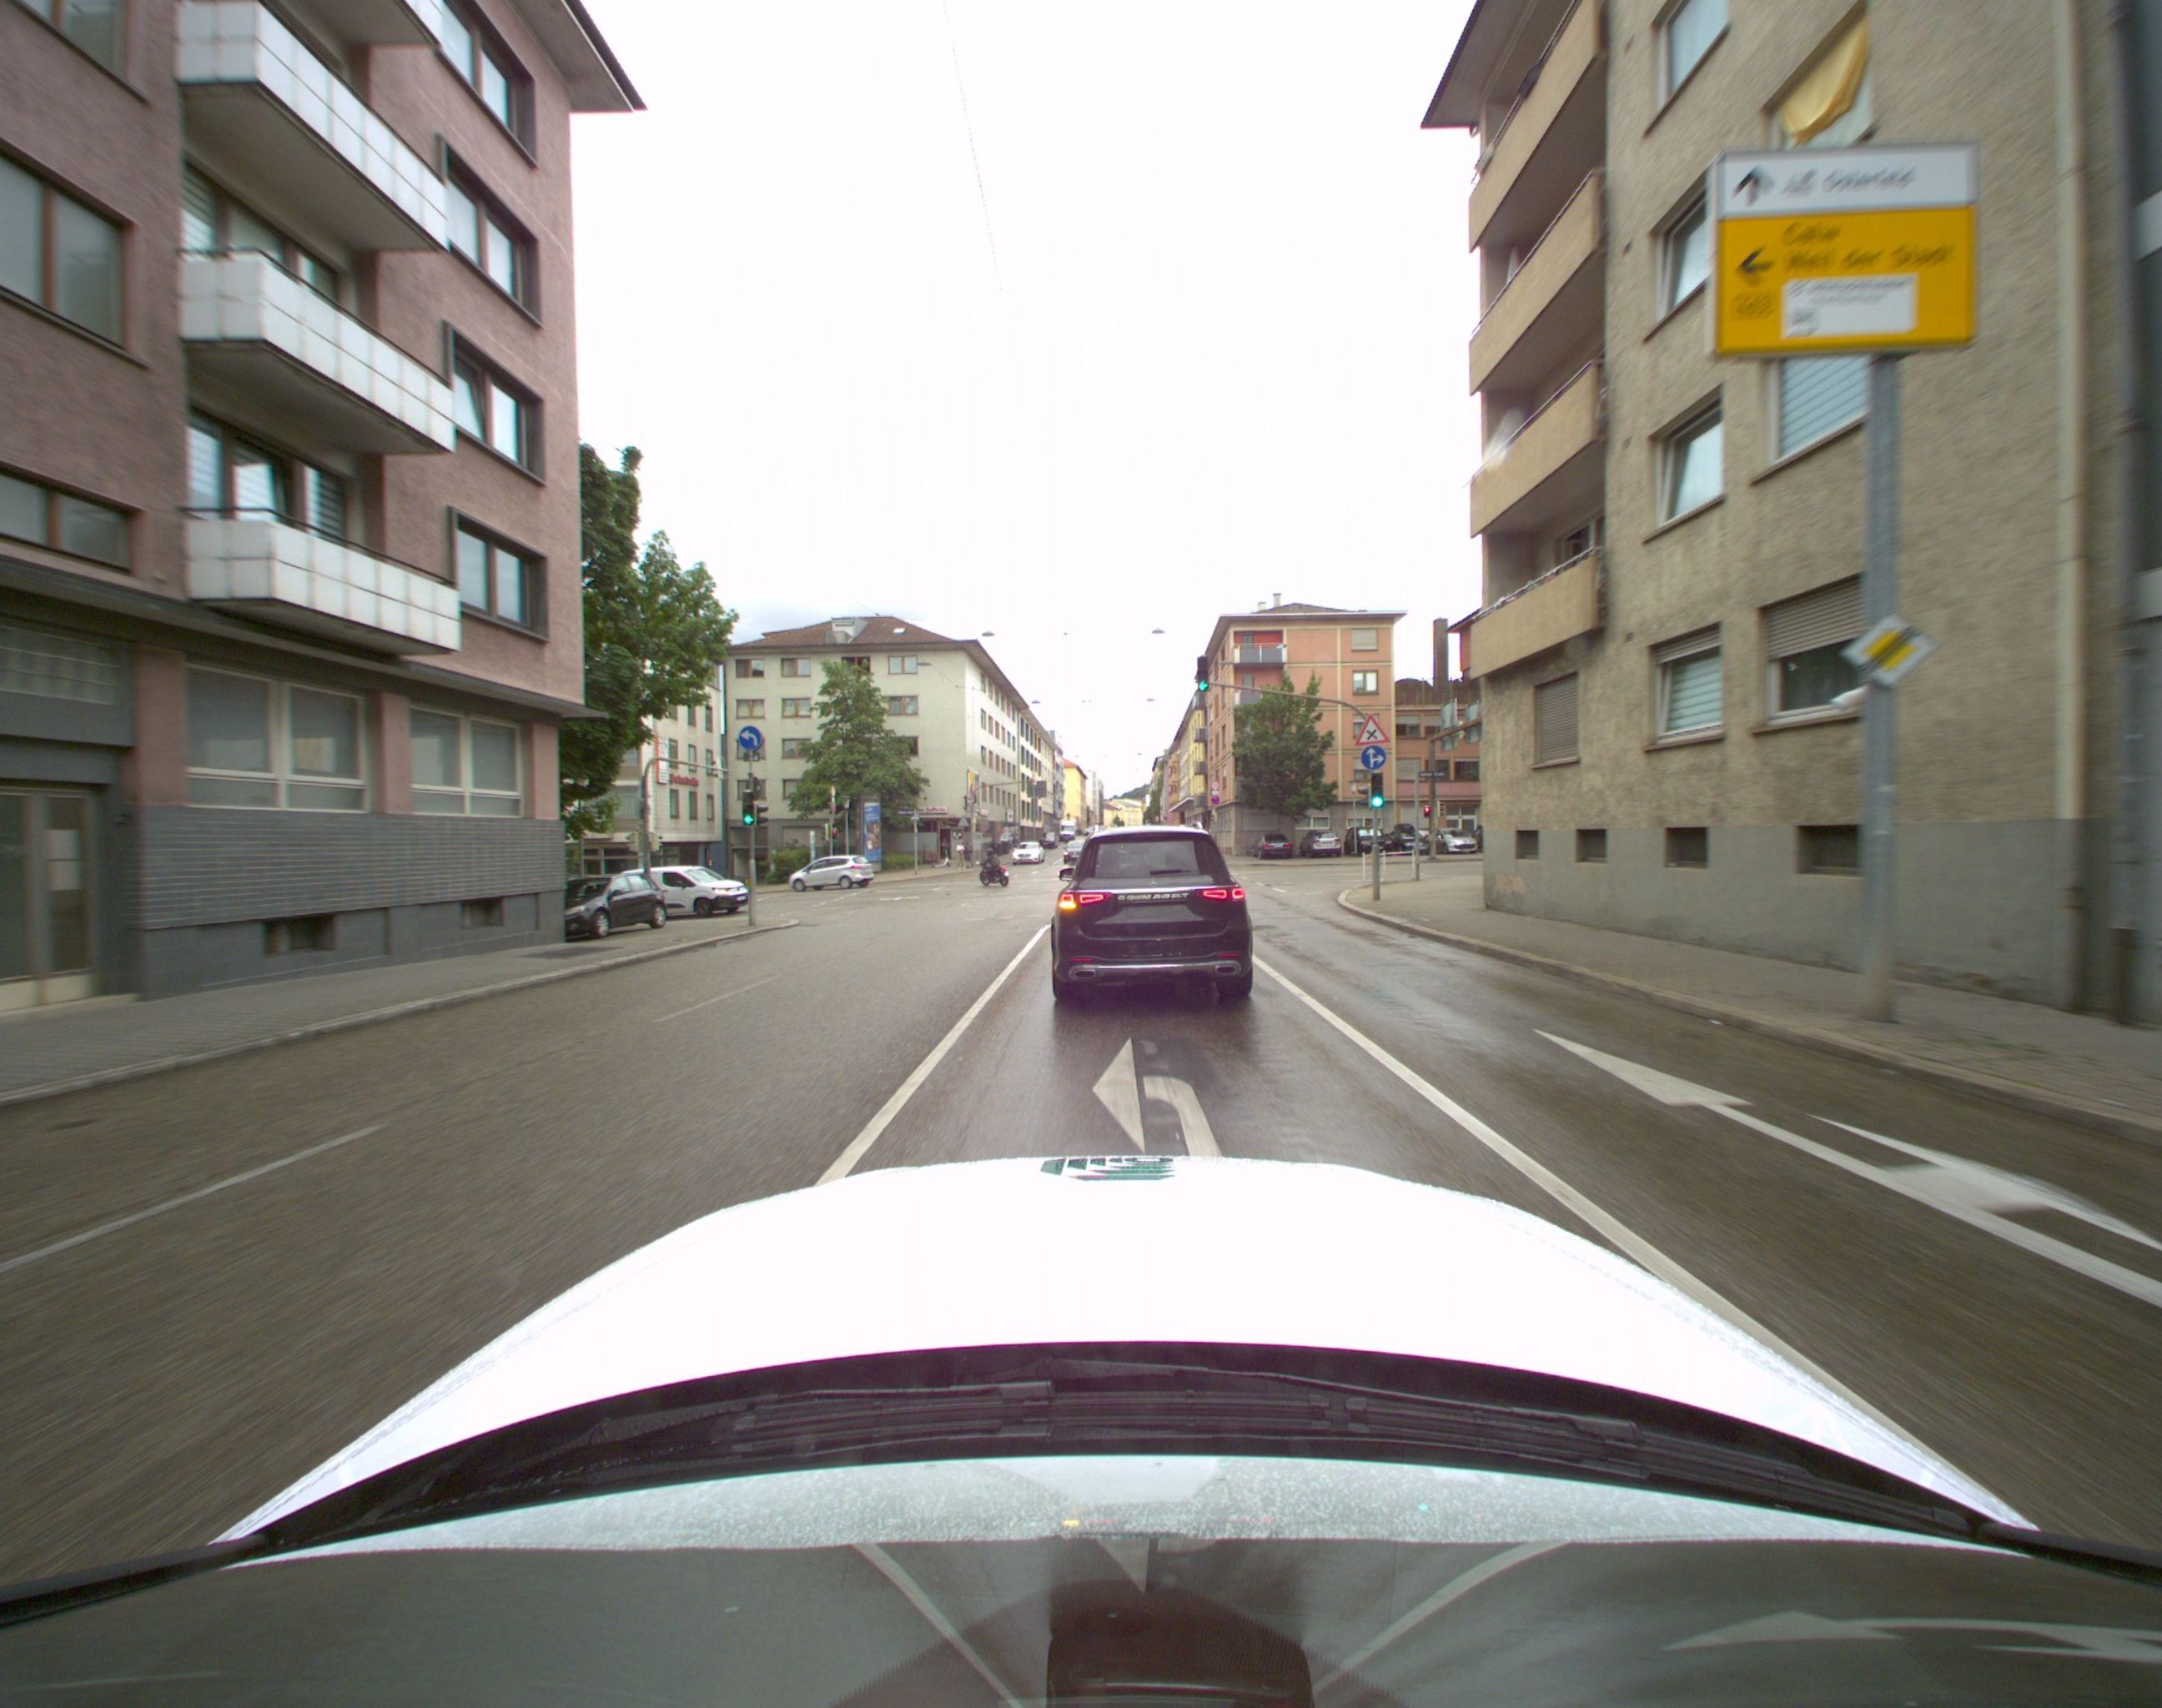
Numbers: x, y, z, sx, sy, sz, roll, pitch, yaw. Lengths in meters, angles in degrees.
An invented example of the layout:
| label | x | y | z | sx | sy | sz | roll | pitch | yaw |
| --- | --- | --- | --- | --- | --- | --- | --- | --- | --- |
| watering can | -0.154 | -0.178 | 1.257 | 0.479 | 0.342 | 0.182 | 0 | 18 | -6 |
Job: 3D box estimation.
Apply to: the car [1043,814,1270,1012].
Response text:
| label | x | y | z | sx | sy | sz | roll | pitch | yaw |
| --- | --- | --- | --- | --- | --- | --- | --- | --- | --- |
| car | 0.718 | 0.546 | 9.732 | 2.014 | 1.739 | 4.747 | -1 | 0 | 1 |

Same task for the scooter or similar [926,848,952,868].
| label | x | y | z | sx | sy | sz | roll | pitch | yaw |
| --- | --- | --- | --- | --- | --- | --- | --- | --- | --- |
| scooter or similar | -8.894 | 0.249 | 50.982 | 1.565 | 1.190 | 0.497 | 0 | -1 | -27 |

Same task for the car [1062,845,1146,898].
| label | x | y | z | sx | sy | sz | roll | pitch | yaw |
| --- | --- | --- | --- | --- | --- | --- | --- | --- | --- |
| car | 0.662 | 0.484 | 26.554 | 1.830 | 1.461 | 4.364 | -3 | 1 | -10 |

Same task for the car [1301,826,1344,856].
| label | x | y | z | sx | sy | sz | roll | pitch | yaw |
| --- | --- | --- | --- | --- | --- | --- | --- | --- | --- |
| car | 14.542 | -0.776 | 49.211 | 1.975 | 1.660 | 4.010 | -2 | 1 | 9 |

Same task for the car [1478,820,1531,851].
| label | x | y | z | sx | sy | sz | roll | pitch | yaw |
| --- | --- | --- | --- | --- | --- | --- | --- | --- | --- |
| car | 24.917 | -1.062 | 48.051 | 1.979 | 1.706 | 4.016 | 0 | 0 | 15 |

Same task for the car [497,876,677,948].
| label | x | y | z | sx | sy | sz | roll | pitch | yaw |
| --- | --- | --- | --- | --- | --- | --- | --- | --- | --- |
| car | -11.627 | 1.304 | 19.533 | 1.726 | 1.360 | 4.001 | -4 | 0 | 2 |

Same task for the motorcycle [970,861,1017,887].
| label | x | y | z | sx | sy | sz | roll | pitch | yaw |
| --- | --- | --- | --- | --- | --- | --- | --- | --- | --- |
| motorcycle | -3.606 | 0.825 | 33.574 | 0.869 | 1.006 | 2.226 | -2 | 1 | -37 |

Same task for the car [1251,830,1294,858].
| label | x | y | z | sx | sy | sz | roll | pitch | yaw |
| --- | --- | --- | --- | --- | --- | --- | --- | --- | --- |
| car | 11.638 | -0.623 | 49.760 | 1.835 | 1.554 | 4.803 | -2 | 1 | 5 |

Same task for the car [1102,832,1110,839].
| label | x | y | z | sx | sy | sz | roll | pitch | yaw |
| --- | --- | --- | --- | --- | --- | --- | --- | --- | --- |
| car | 6.210 | -4.750 | 205.098 | 1.836 | 1.674 | 4.005 | -2 | 0 | 4 |

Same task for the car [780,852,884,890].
| label | x | y | z | sx | sy | sz | roll | pitch | yaw |
| --- | --- | --- | --- | --- | --- | --- | --- | --- | --- |
| car | -11.848 | 0.793 | 38.778 | 4.217 | 1.599 | 2.036 | -2 | 0 | 16 |

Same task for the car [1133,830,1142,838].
| label | x | y | z | sx | sy | sz | roll | pitch | yaw |
| --- | --- | --- | --- | --- | --- | --- | --- | --- | --- |
| car | 12.573 | -4.452 | 181.137 | 2.006 | 1.562 | 4.006 | 0 | 0 | 6 |

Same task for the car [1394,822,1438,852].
| label | x | y | z | sx | sy | sz | roll | pitch | yaw |
| --- | --- | --- | --- | --- | --- | --- | --- | --- | --- |
| car | 20.080 | -1.002 | 48.740 | 1.777 | 1.698 | 4.026 | 0 | 1 | 32 |

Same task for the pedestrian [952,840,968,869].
| label | x | y | z | sx | sy | sz | roll | pitch | yaw |
| --- | --- | --- | --- | --- | --- | --- | --- | --- | --- |
| pedestrian | -7.324 | 0.022 | 49.424 | 0.713 | 1.646 | 0.751 | -1 | 4 | -33 |

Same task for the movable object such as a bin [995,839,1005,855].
| label | x | y | z | sx | sy | sz | roll | pitch | yaw |
| --- | --- | --- | --- | --- | --- | --- | --- | --- | --- |
| movable object such as a bin | -6.594 | -0.574 | 66.152 | 0.694 | 1.315 | 0.783 | 0 | -1 | 2 |

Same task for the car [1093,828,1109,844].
| label | x | y | z | sx | sy | sz | roll | pitch | yaw |
| --- | --- | --- | --- | --- | --- | --- | --- | --- | --- |
| car | 2.898 | -2.599 | 119.533 | 2.055 | 2.241 | 4.626 | -2 | 0 | 4 |

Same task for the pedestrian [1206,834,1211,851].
| label | x | y | z | sx | sy | sz | roll | pitch | yaw |
| --- | --- | --- | --- | --- | --- | --- | --- | --- | --- |
| pedestrian | 10.477 | -0.951 | 67.147 | 0.362 | 1.398 | 0.370 | 0 | 4 | 3 |

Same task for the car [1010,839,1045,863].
| label | x | y | z | sx | sy | sz | roll | pitch | yaw |
| --- | --- | --- | --- | --- | --- | --- | --- | --- | --- |
| car | -3.614 | -0.231 | 55.575 | 1.836 | 1.512 | 4.004 | -2 | 1 | 4 |

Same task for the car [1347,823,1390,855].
| label | x | y | z | sx | sy | sz | roll | pitch | yaw |
| --- | --- | --- | --- | --- | --- | --- | --- | --- | --- |
| car | 17.097 | -0.903 | 48.585 | 1.972 | 1.719 | 4.016 | -2 | 0 | 14 |

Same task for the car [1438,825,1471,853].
| label | x | y | z | sx | sy | sz | roll | pitch | yaw |
| --- | --- | --- | --- | --- | --- | --- | --- | --- | --- |
| car | 22.240 | -0.840 | 48.616 | 1.654 | 1.582 | 4.022 | 0 | 0 | 23 |

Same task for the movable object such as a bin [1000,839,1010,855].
| label | x | y | z | sx | sy | sz | roll | pitch | yaw |
| --- | --- | --- | --- | --- | --- | --- | --- | --- | --- |
| movable object such as a bin | -6.432 | -0.573 | 68.887 | 0.694 | 1.315 | 0.783 | 0 | -1 | 2 |

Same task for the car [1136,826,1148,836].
| label | x | y | z | sx | sy | sz | roll | pitch | yaw |
| --- | --- | --- | --- | --- | --- | --- | --- | --- | --- |
| car | 10.991 | -4.119 | 146.875 | 2.006 | 1.562 | 4.006 | 0 | 0 | 6 |

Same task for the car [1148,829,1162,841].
| label | x | y | z | sx | sy | sz | roll | pitch | yaw |
| --- | --- | --- | --- | --- | --- | --- | --- | --- | --- |
| car | 10.507 | -2.703 | 115.148 | 2.006 | 1.562 | 5.163 | 0 | 0 | 6 |

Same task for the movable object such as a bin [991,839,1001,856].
| label | x | y | z | sx | sy | sz | roll | pitch | yaw |
| --- | --- | --- | --- | --- | --- | --- | --- | --- | --- |
| movable object such as a bin | -6.702 | -0.532 | 64.190 | 0.694 | 1.315 | 0.783 | 0 | -1 | 2 |

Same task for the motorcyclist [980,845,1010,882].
| label | x | y | z | sx | sy | sz | roll | pitch | yaw |
| --- | --- | --- | --- | --- | --- | --- | --- | --- | --- |
| motorcyclist | -3.535 | 0.377 | 33.449 | 0.912 | 1.453 | 0.738 | -2 | 0 | -39 |

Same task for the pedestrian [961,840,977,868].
| label | x | y | z | sx | sy | sz | roll | pitch | yaw |
| --- | --- | --- | --- | --- | --- | --- | --- | --- | --- |
| pedestrian | -6.918 | 0.008 | 50.290 | 0.713 | 1.646 | 0.751 | -1 | 4 | -33 |

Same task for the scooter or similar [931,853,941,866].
| label | x | y | z | sx | sy | sz | roll | pitch | yaw |
| --- | --- | --- | --- | --- | --- | --- | --- | --- | --- |
| scooter or similar | -9.415 | 0.345 | 52.873 | 0.460 | 0.843 | 1.313 | 0 | 0 | -20 |

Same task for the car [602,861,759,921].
| label | x | y | z | sx | sy | sz | roll | pitch | yaw |
| --- | --- | --- | --- | --- | --- | --- | --- | --- | --- |
| car | -13.906 | 1.258 | 28.397 | 4.508 | 1.715 | 1.815 | -4 | 0 | 6 |

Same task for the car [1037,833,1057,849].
| label | x | y | z | sx | sy | sz | roll | pitch | yaw |
| --- | --- | --- | --- | --- | --- | --- | --- | --- | --- |
| car | -3.616 | -1.412 | 86.600 | 1.717 | 1.603 | 4.003 | -2 | 0 | 3 |

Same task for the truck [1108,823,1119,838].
| label | x | y | z | sx | sy | sz | roll | pitch | yaw |
| --- | --- | --- | --- | --- | --- | --- | --- | --- | --- |
| truck | 9.048 | -6.489 | 225.244 | 2.794 | 3.832 | 8.155 | 0 | 0 | 5 |

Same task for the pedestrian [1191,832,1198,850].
| label | x | y | z | sx | sy | sz | roll | pitch | yaw |
| --- | --- | --- | --- | --- | --- | --- | --- | --- | --- |
| pedestrian | 9.794 | -1.094 | 70.460 | 0.518 | 1.538 | 0.570 | 0 | 4 | 3 |

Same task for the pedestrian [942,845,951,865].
| label | x | y | z | sx | sy | sz | roll | pitch | yaw |
| --- | --- | --- | --- | --- | --- | --- | --- | --- | --- |
| pedestrian | -9.488 | 0.059 | 57.296 | 0.517 | 1.400 | 0.578 | 0 | -1 | -1 |

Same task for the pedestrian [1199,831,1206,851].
| label | x | y | z | sx | sy | sz | roll | pitch | yaw |
| --- | --- | --- | --- | --- | --- | --- | --- | --- | --- |
| pedestrian | 10.005 | -1.077 | 67.126 | 0.477 | 1.565 | 0.558 | 0 | 4 | 3 |

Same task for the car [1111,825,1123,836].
| label | x | y | z | sx | sy | sz | roll | pitch | yaw |
| --- | --- | --- | --- | --- | --- | --- | --- | --- | --- |
| car | 6.079 | -3.986 | 137.164 | 1.836 | 1.674 | 4.005 | -2 | 0 | 4 |

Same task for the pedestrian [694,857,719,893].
| label | x | y | z | sx | sy | sz | roll | pitch | yaw |
| --- | --- | --- | --- | --- | --- | --- | --- | --- | --- |
| pedestrian | -19.886 | 1.108 | 43.254 | 0.906 | 1.817 | 0.760 | 0 | 4 | 31 |

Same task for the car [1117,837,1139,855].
| label | x | y | z | sx | sy | sz | roll | pitch | yaw |
| --- | --- | --- | --- | --- | --- | --- | --- | --- | --- |
| car | 4.173 | -0.683 | 71.753 | 1.836 | 1.489 | 4.004 | -2 | 0 | 4 |

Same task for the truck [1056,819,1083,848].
| label | x | y | z | sx | sy | sz | roll | pitch | yaw |
| --- | --- | --- | --- | --- | --- | --- | --- | --- | --- |
| truck | -1.535 | -2.730 | 111.236 | 2.794 | 3.832 | 8.155 | 0 | 0 | 5 |

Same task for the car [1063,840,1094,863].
| label | x | y | z | sx | sy | sz | roll | pitch | yaw |
| --- | --- | --- | --- | --- | --- | --- | --- | --- | --- |
| car | -0.132 | -0.214 | 56.161 | 1.836 | 1.489 | 4.004 | -2 | 1 | 4 |
